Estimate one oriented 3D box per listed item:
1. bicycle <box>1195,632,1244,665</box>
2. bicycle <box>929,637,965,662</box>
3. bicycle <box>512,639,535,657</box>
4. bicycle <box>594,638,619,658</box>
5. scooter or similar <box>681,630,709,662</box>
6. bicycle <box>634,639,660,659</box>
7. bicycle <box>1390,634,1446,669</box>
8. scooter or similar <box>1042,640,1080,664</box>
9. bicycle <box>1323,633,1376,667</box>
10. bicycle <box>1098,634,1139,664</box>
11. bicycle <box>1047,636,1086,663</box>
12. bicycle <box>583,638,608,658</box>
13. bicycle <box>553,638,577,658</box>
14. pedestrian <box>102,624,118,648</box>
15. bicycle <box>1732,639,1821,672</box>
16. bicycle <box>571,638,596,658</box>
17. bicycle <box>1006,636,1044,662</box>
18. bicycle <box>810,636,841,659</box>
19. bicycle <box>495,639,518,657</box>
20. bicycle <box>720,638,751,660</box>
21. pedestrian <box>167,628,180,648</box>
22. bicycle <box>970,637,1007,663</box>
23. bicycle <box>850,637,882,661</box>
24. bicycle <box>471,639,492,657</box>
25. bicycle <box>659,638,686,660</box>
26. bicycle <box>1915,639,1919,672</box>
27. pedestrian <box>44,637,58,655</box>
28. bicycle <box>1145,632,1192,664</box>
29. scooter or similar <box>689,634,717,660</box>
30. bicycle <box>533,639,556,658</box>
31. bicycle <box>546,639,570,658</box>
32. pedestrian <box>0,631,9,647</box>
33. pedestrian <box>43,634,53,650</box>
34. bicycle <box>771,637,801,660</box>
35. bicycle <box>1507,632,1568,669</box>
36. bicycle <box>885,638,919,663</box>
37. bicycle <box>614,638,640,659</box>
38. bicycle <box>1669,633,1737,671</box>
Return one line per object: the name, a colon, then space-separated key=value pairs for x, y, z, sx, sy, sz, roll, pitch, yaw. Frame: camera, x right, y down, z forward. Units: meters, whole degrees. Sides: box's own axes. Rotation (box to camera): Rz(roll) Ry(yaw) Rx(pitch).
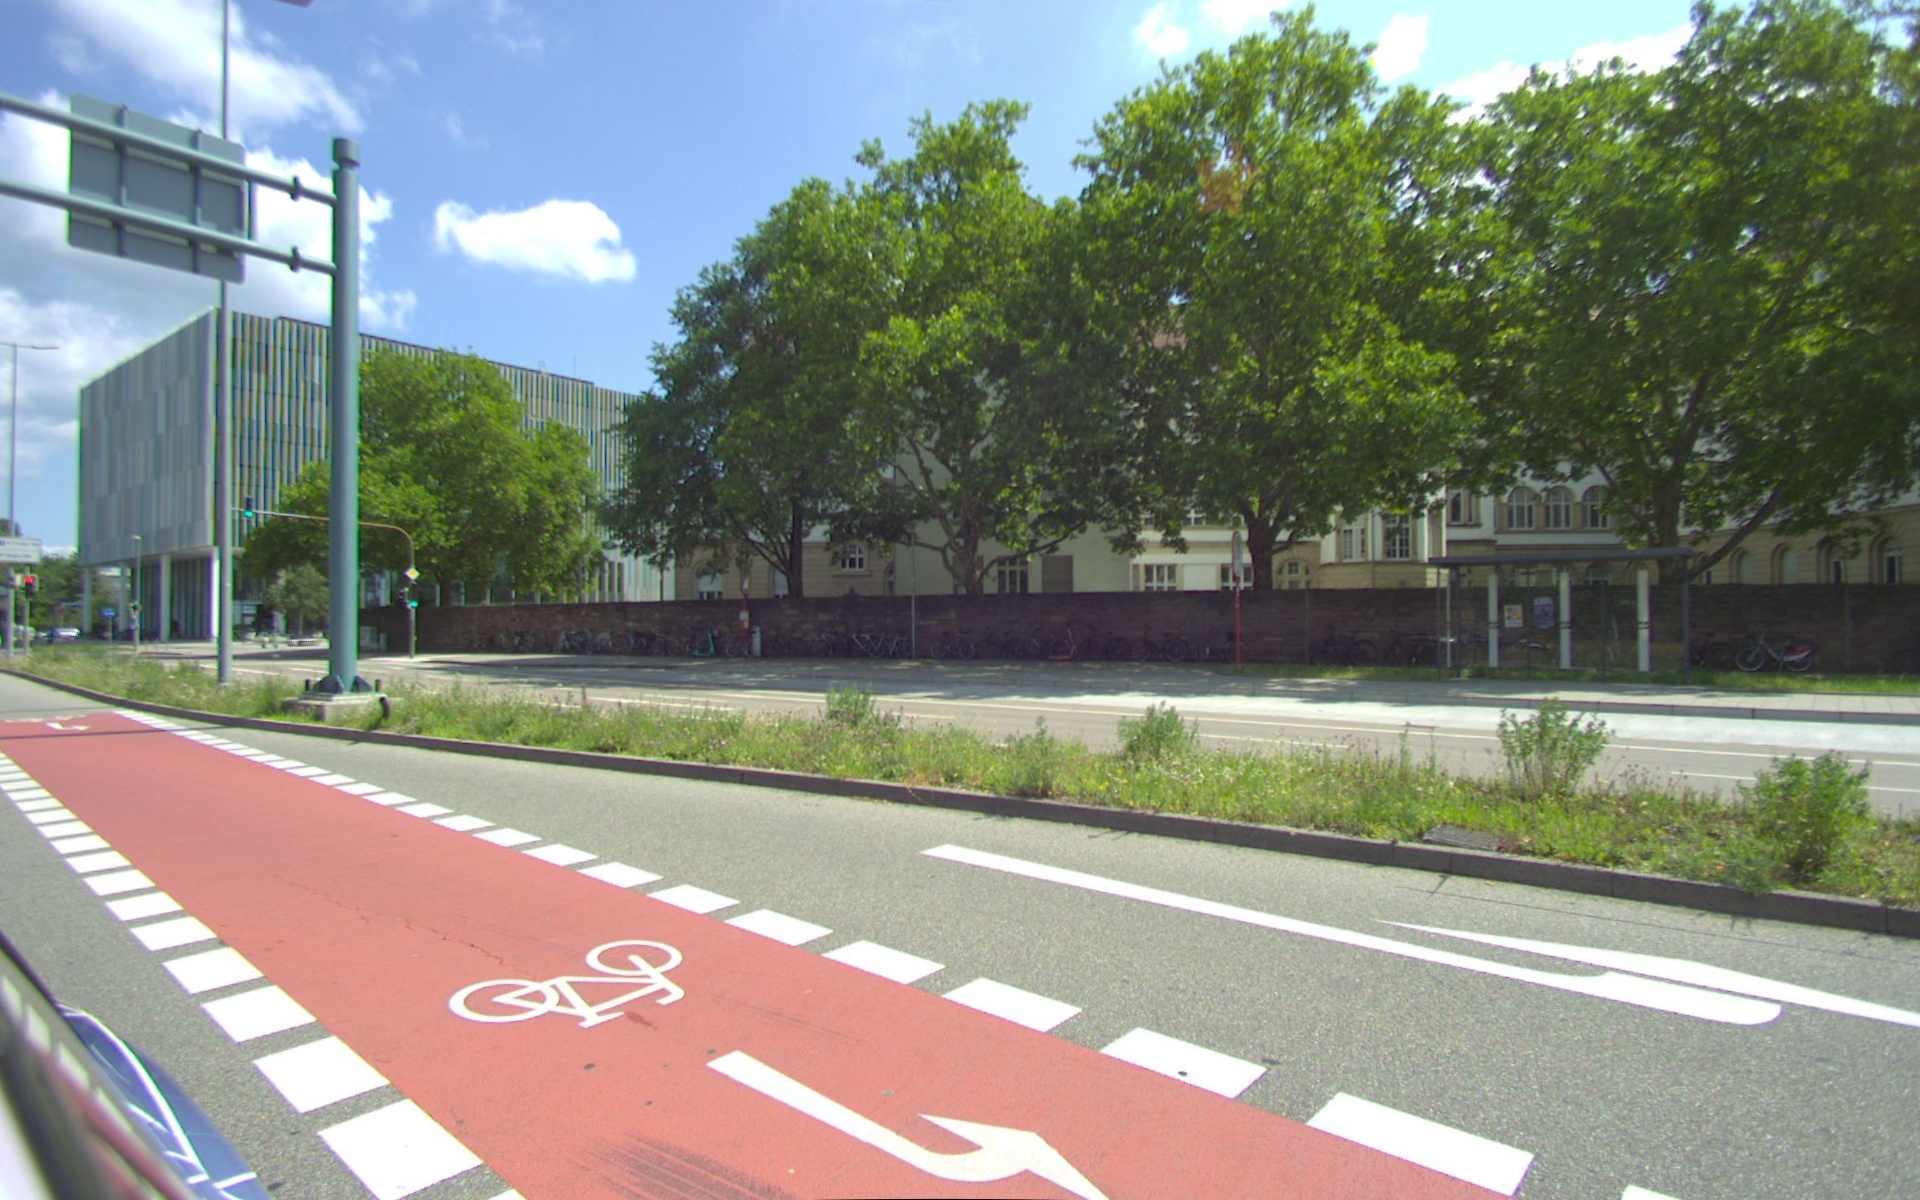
bicycle: x=7.802 y=1.467 z=30.427 sx=1.389 sy=0.972 sz=0.262 roll=-1 pitch=-2 yaw=28
bicycle: x=-0.436 y=1.670 z=34.290 sx=1.230 sy=0.837 sz=0.262 roll=-1 pitch=-2 yaw=28
bicycle: x=-19.959 y=2.184 z=46.240 sx=1.230 sy=0.837 sz=0.262 roll=-1 pitch=-2 yaw=29
bicycle: x=-14.987 y=2.013 z=42.894 sx=1.231 sy=0.837 sz=0.262 roll=-2 pitch=-2 yaw=30
scooter or similar: x=-10.196 y=1.758 z=38.953 sx=1.230 sy=1.199 sz=0.262 roll=-1 pitch=-2 yaw=29
bicycle: x=-12.791 y=2.002 z=41.397 sx=1.231 sy=0.837 sz=0.262 roll=-2 pitch=-2 yaw=30
bicycle: x=12.859 y=1.440 z=28.429 sx=1.384 sy=0.972 sz=0.263 roll=-1 pitch=-2 yaw=18
scooter or similar: x=3.174 y=1.626 z=31.820 sx=1.133 sy=0.734 sz=0.264 roll=-1 pitch=-2 yaw=18
bicycle: x=11.174 y=1.424 z=29.043 sx=1.384 sy=0.972 sz=0.263 roll=-1 pitch=-2 yaw=18
bicycle: x=4.940 y=1.520 z=31.606 sx=1.230 sy=0.915 sz=0.262 roll=-1 pitch=-2 yaw=28
bicycle: x=3.404 y=1.591 z=32.469 sx=1.230 sy=0.837 sz=0.262 roll=-1 pitch=-2 yaw=28
bicycle: x=-15.334 y=2.001 z=42.570 sx=1.230 sy=0.837 sz=0.262 roll=-1 pitch=-2 yaw=29
bicycle: x=-17.409 y=2.108 z=44.574 sx=1.230 sy=0.837 sz=0.262 roll=-1 pitch=-2 yaw=29
pedestrian: x=-71.505 y=3.043 z=85.150 sx=0.994 sy=2.029 sz=0.853 roll=-2 pitch=-2 yaw=39
bicycle: x=20.739 y=1.404 z=25.731 sx=1.734 sy=0.823 sz=0.327 roll=-1 pitch=-2 yaw=18
bicycle: x=-16.270 y=2.079 z=43.739 sx=1.231 sy=0.837 sz=0.262 roll=-2 pitch=-2 yaw=30
bicycle: x=2.128 y=1.608 z=33.081 sx=1.230 sy=0.837 sz=0.262 roll=-1 pitch=-2 yaw=28
bicycle: x=-4.894 y=1.722 z=36.870 sx=1.231 sy=0.837 sz=0.262 roll=-1 pitch=-2 yaw=30
bicycle: x=-21.055 y=2.217 z=46.981 sx=1.231 sy=0.837 sz=0.262 roll=-2 pitch=-2 yaw=30
bicycle: x=-8.650 y=1.883 z=38.963 sx=1.226 sy=0.837 sz=0.263 roll=-1 pitch=-2 yaw=19
pedestrian: x=-79.979 y=3.863 z=102.925 sx=0.994 sy=2.029 sz=0.853 roll=-2 pitch=-2 yaw=40
bicycle: x=0.956 y=1.663 z=33.730 sx=1.230 sy=0.837 sz=0.262 roll=-1 pitch=-2 yaw=28
bicycle: x=-3.333 y=1.750 z=35.909 sx=1.231 sy=0.837 sz=0.262 roll=-1 pitch=-2 yaw=30
bicycle: x=-22.694 y=2.278 z=47.973 sx=1.231 sy=0.837 sz=0.262 roll=-2 pitch=-2 yaw=30
bicycle: x=-11.523 y=1.961 z=40.521 sx=1.231 sy=0.837 sz=0.262 roll=-2 pitch=-2 yaw=30
bicycle: x=24.435 y=1.355 z=24.612 sx=1.734 sy=0.823 sz=0.382 roll=-1 pitch=-2 yaw=18
pedestrian: x=-75.636 y=3.816 z=84.216 sx=0.687 sy=1.464 sz=0.689 roll=-2 pitch=-2 yaw=34
bicycle: x=6.396 y=1.474 z=31.048 sx=1.385 sy=0.972 sz=0.263 roll=-1 pitch=-2 yaw=20
scooter or similar: x=-10.147 y=1.848 z=39.933 sx=1.133 sy=1.028 sz=0.264 roll=-1 pitch=-2 yaw=19
bicycle: x=-18.598 y=2.159 z=45.324 sx=1.230 sy=0.837 sz=0.262 roll=-1 pitch=-2 yaw=29
bicycle: x=-17.484 y=2.107 z=43.980 sx=1.230 sy=0.837 sz=0.262 roll=-1 pitch=-2 yaw=29
pedestrian: x=-98.405 y=4.034 z=103.993 sx=0.994 sy=1.669 sz=0.853 roll=-2 pitch=-2 yaw=39
pedestrian: x=-87.865 y=4.048 z=97.507 sx=0.689 sy=1.464 sz=0.687 roll=-2 pitch=-2 yaw=43
bicycle: x=-6.473 y=1.807 z=37.579 sx=1.231 sy=0.837 sz=0.262 roll=-1 pitch=-2 yaw=30
bicycle: x=15.626 y=1.367 z=27.399 sx=1.384 sy=0.972 sz=0.263 roll=-1 pitch=-2 yaw=18
bicycle: x=-2.019 y=1.748 z=35.129 sx=1.231 sy=0.837 sz=0.262 roll=-1 pitch=-2 yaw=30
bicycle: x=-13.891 y=2.024 z=42.227 sx=1.231 sy=0.837 sz=0.262 roll=-2 pitch=-2 yaw=30
bicycle: x=19.228 y=1.344 z=26.205 sx=1.384 sy=0.972 sz=0.263 roll=-1 pitch=-2 yaw=18
